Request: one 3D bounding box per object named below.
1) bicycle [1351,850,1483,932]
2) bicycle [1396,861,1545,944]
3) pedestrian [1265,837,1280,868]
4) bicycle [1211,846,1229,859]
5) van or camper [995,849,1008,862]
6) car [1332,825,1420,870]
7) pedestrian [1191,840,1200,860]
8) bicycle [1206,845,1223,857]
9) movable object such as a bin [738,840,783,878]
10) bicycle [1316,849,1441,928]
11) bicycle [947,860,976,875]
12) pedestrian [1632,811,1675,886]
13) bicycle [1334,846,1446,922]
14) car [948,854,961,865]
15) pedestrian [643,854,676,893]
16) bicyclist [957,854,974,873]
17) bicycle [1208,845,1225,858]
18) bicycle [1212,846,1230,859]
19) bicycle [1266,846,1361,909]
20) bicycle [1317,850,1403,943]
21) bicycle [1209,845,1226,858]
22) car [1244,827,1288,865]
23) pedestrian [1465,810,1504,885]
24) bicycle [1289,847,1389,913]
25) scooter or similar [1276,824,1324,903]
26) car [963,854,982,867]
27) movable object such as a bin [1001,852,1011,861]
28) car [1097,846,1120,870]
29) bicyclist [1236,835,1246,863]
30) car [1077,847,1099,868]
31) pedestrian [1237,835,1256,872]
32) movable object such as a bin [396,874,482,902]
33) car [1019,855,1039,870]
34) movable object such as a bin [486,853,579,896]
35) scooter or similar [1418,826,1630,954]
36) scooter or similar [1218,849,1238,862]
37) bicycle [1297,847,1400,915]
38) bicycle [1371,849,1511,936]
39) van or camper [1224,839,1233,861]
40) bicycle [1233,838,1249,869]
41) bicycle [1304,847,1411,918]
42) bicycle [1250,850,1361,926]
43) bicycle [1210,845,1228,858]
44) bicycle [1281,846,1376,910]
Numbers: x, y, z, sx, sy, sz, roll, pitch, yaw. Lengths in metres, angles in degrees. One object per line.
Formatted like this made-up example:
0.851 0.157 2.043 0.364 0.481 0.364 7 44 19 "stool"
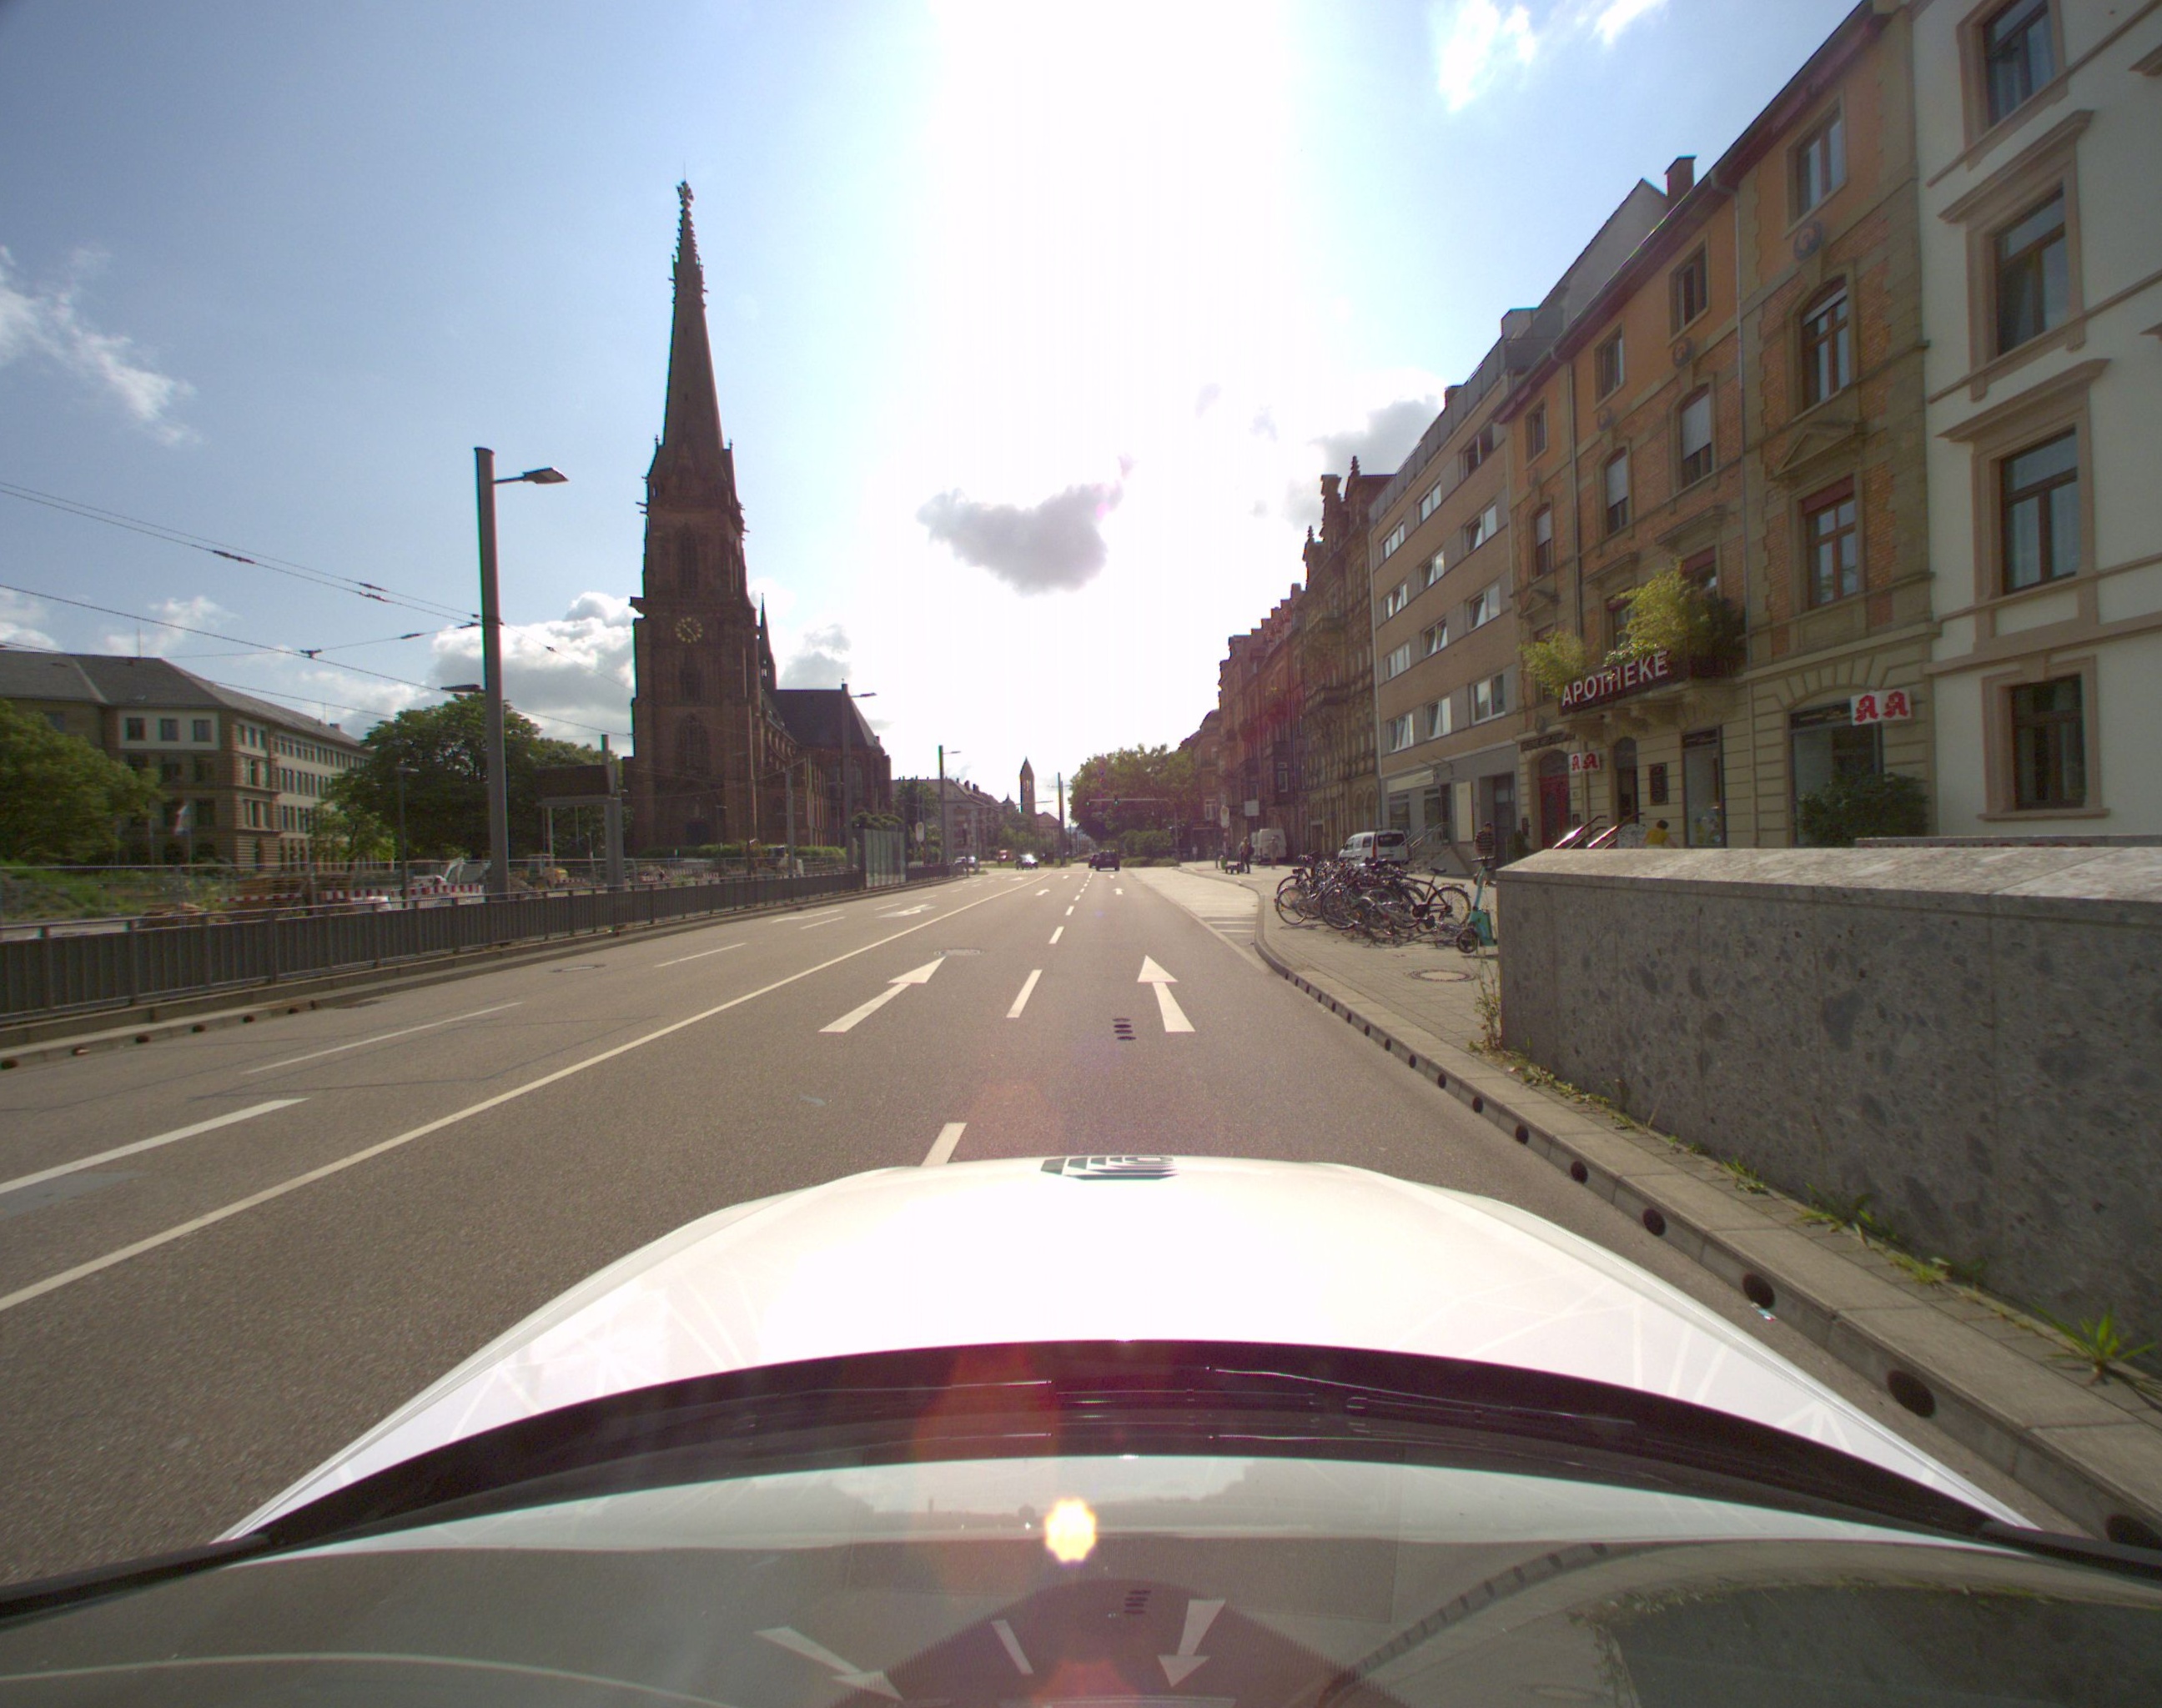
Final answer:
5.409 0.585 13.152 1.916 1.237 0.442 -2 2 3 "bicycle"
5.629 0.700 11.813 1.916 1.103 0.442 -2 2 3 "bicycle"
11.589 -0.097 49.252 0.662 1.836 0.693 -2 0 -5 "pedestrian"
14.416 -0.192 84.529 1.761 1.267 0.467 -2 2 4 "bicycle"
-17.383 0.237 178.820 2.250 2.737 6.198 -2 0 -2 "van or camper"
13.335 -0.257 37.212 1.990 1.862 4.746 -2 -1 -4 "car"
11.548 -0.409 82.231 0.765 2.013 0.715 -2 0 2 "pedestrian"
14.401 -0.332 87.658 1.761 1.267 0.467 -2 2 4 "bicycle"
-28.811 0.392 73.267 1.984 3.105 4.007 -2 2 6 "movable object such as a bin"
4.999 0.577 13.723 1.916 1.237 0.442 -2 2 3 "bicycle"
-9.425 1.073 64.357 2.005 1.126 0.934 -2 0 11 "bicycle"
13.347 -0.138 19.004 0.576 1.697 0.613 -2 2 2 "pedestrian"
5.533 0.523 14.559 1.925 1.237 0.439 -2 2 -12 "bicycle"
-18.713 0.792 120.775 1.798 1.552 4.284 -2 0 -7 "car"
-22.434 1.030 43.347 1.060 2.013 1.052 -2 0 5 "pedestrian"
-9.138 0.724 64.342 1.082 1.436 0.827 -2 0 11 "bicyclist"
14.415 -0.265 86.634 1.761 1.267 0.467 -2 2 4 "bicycle"
14.425 -0.149 83.816 1.737 1.267 0.467 -2 2 4 "bicycle"
5.067 0.500 17.720 1.979 1.237 0.440 -2 2 -10 "bicycle"
4.214 0.596 12.446 0.439 1.237 1.926 -2 2 -6 "bicycle"
14.400 -0.231 86.011 1.761 1.267 0.467 -2 2 4 "bicycle"
13.464 -0.574 59.621 1.986 2.525 5.891 -2 0 2 "car"
11.602 -0.208 23.446 0.718 2.099 0.787 -2 2 2 "pedestrian"
5.266 0.523 16.624 1.924 1.237 0.440 -2 2 -10 "bicycle"
5.150 0.218 19.238 0.397 1.786 1.531 -2 0 -11 "scooter or similar"
-14.113 0.846 105.924 1.812 1.552 4.558 -2 0 -1 "car"
-17.023 0.588 184.868 2.201 1.693 3.714 -2 2 -3 "movable object such as a bin"
2.160 0.308 65.063 1.683 1.711 3.609 -2 2 0 "car"
10.178 -0.320 51.743 0.426 1.718 0.828 -2 1 2 "bicyclist"
0.680 0.332 80.404 1.988 2.013 3.998 -2 0 -1 "car"
8.654 -0.022 42.543 0.664 1.903 0.690 -2 0 -17 "pedestrian"
-39.750 2.058 50.606 1.995 1.502 5.135 -2 0 -11 "movable object such as a bin"
-5.310 0.818 83.355 1.910 1.417 3.739 -2 0 -2 "car"
-39.696 1.462 59.052 5.131 2.911 1.996 -2 0 -6 "movable object such as a bin"
5.707 0.450 10.596 2.312 1.545 0.699 -2 2 7 "scooter or similar"
14.545 0.161 80.504 1.763 1.185 0.467 -4 -1 1 "scooter or similar"
5.267 0.517 16.036 1.924 1.237 0.440 -2 2 -10 "bicycle"
5.492 0.584 12.473 1.916 1.237 0.442 -2 2 3 "bicycle"
13.979 -0.366 77.251 0.663 2.013 0.638 -2 0 1 "van or camper"
10.163 -0.046 51.787 0.681 1.925 1.590 -2 0 2 "bicycle"
5.244 0.526 15.468 1.924 1.237 0.440 -2 2 -10 "bicycle"
4.066 0.597 14.738 1.925 1.237 0.439 -2 2 -12 "bicycle"
14.453 -0.252 85.206 1.761 1.267 0.467 -2 2 4 "bicycle"
5.217 0.496 17.152 1.925 1.237 0.439 -2 2 -11 "bicycle"
